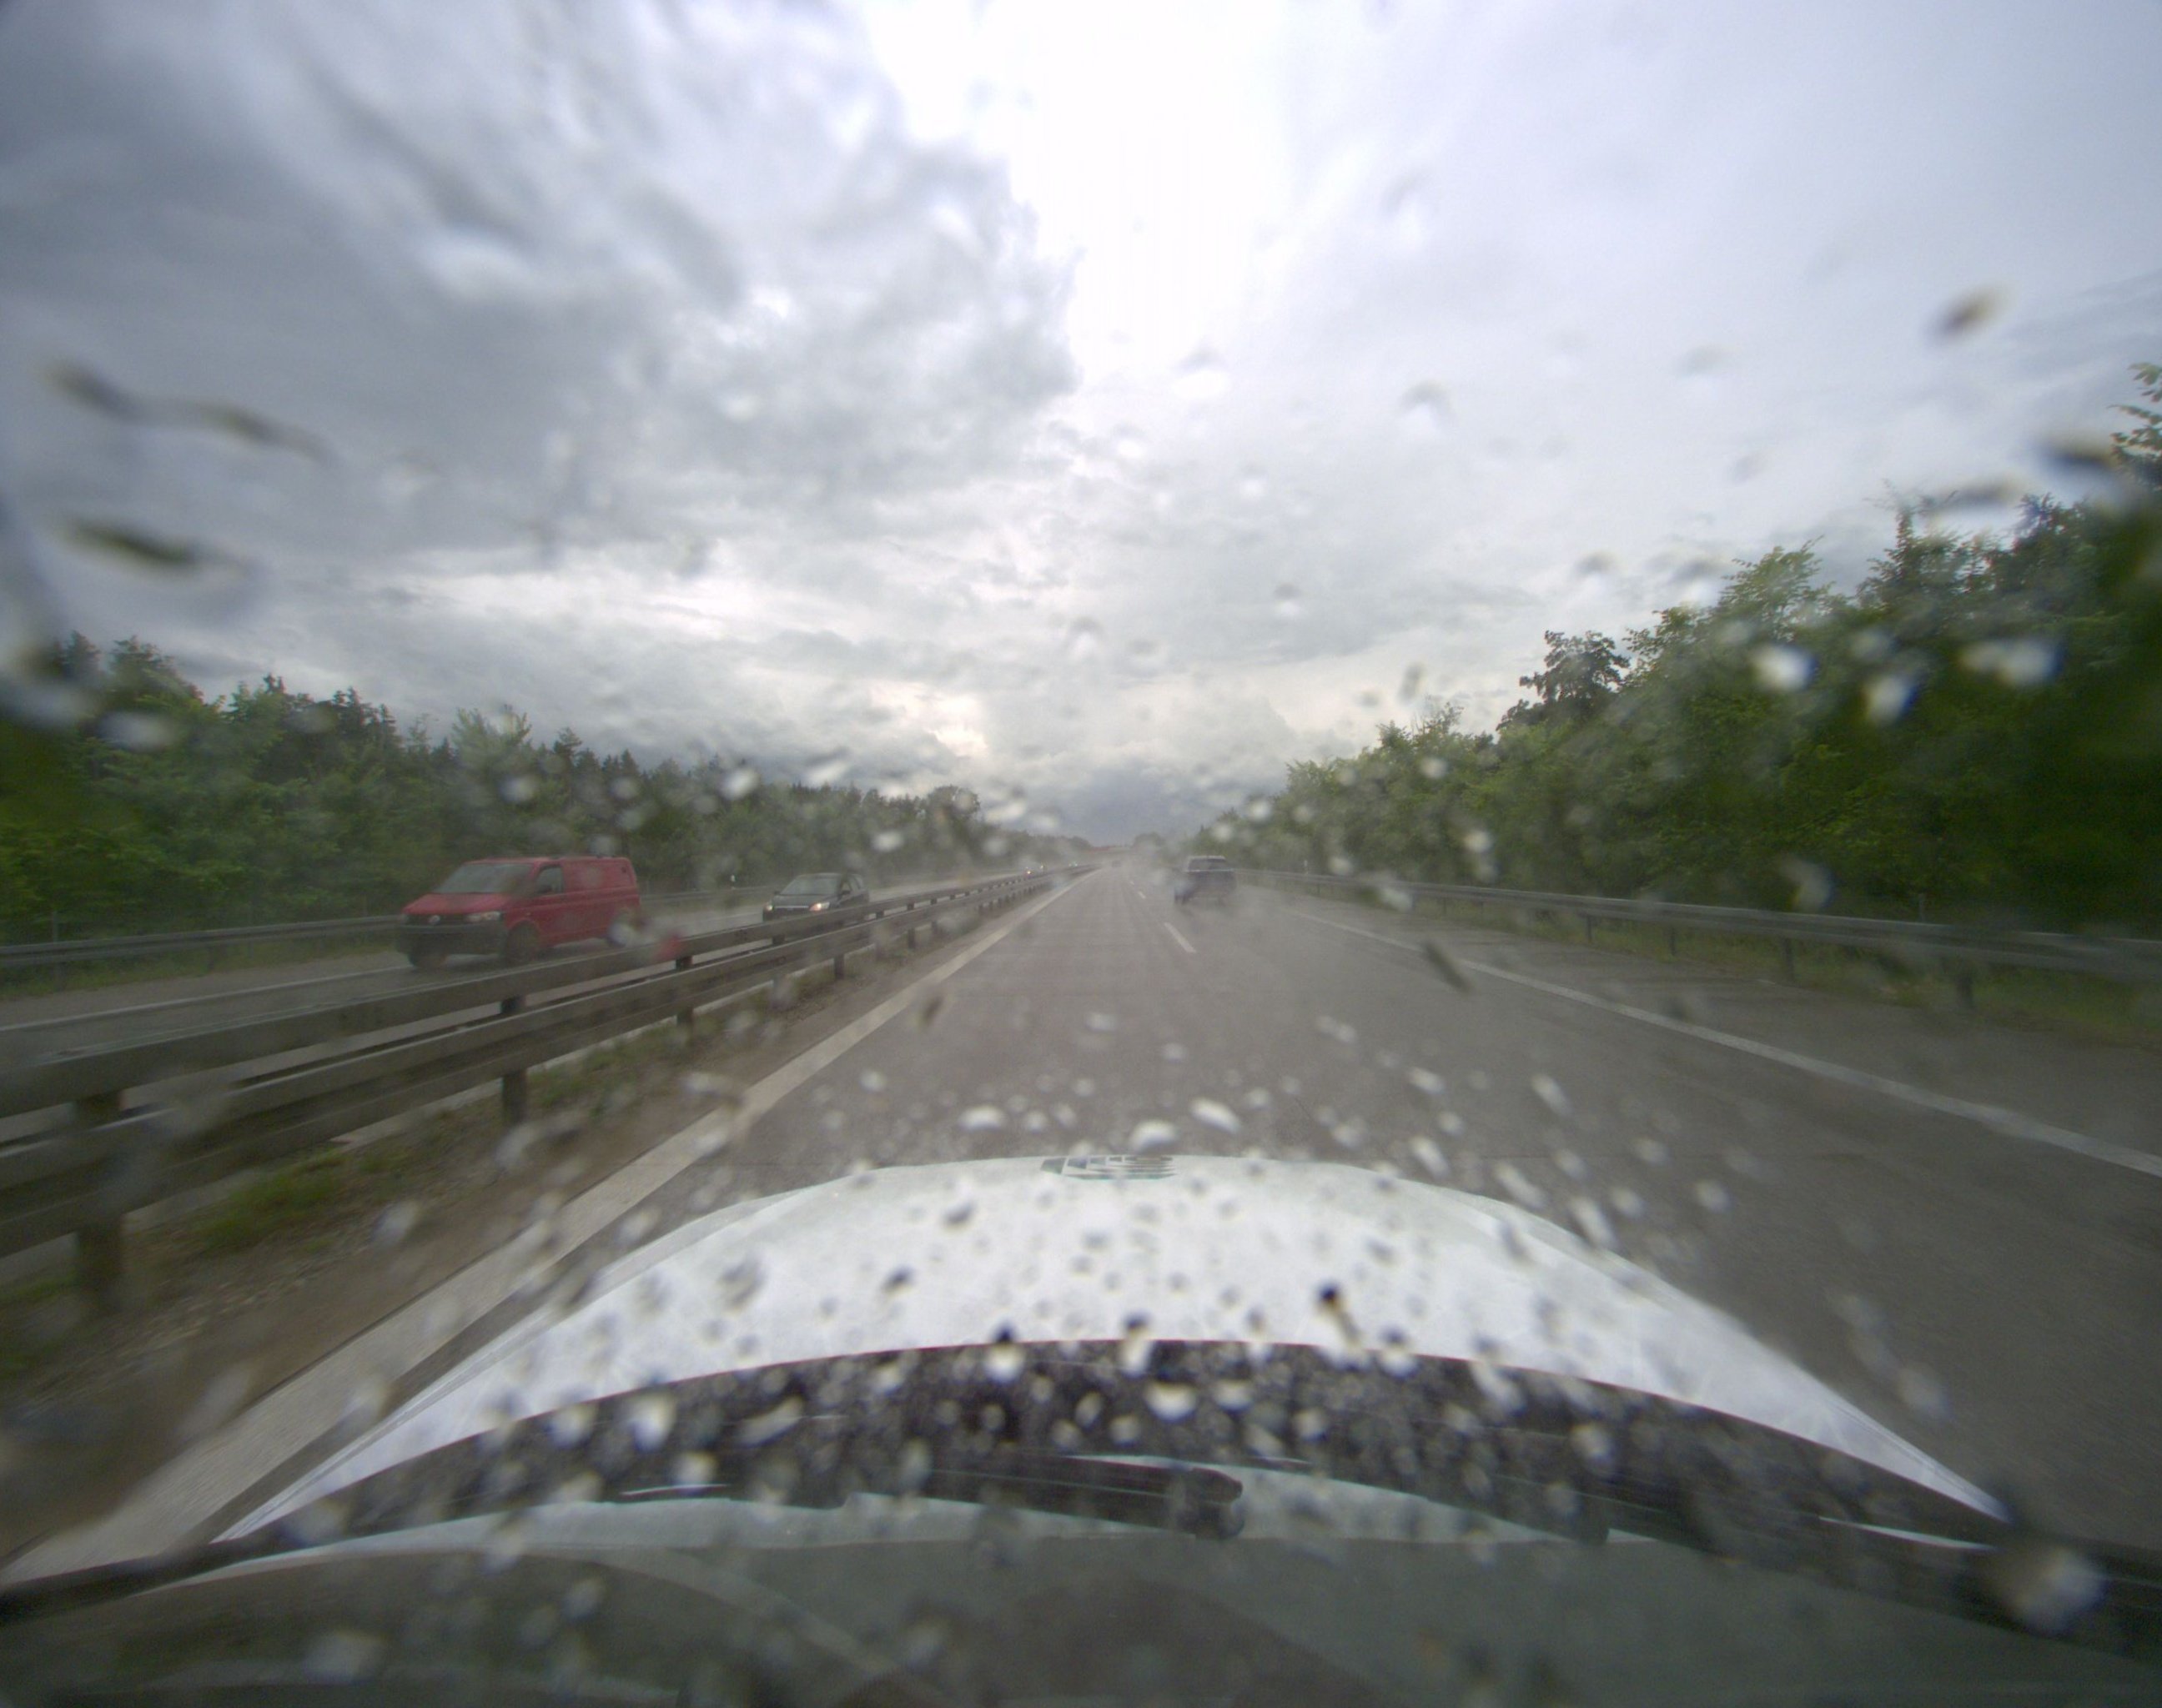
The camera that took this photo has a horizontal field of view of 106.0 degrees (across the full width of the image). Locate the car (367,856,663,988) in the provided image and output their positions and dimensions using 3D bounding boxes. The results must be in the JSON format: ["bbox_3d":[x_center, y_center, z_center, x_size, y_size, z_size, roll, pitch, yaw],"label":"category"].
[{"bbox_3d":[-10.833,1.150,16.278,1.986,2.064,5.315,-3,0,1],"label":"car"}]

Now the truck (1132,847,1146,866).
[{"bbox_3d":[14.052,0.671,197.408,3.228,4.437,8.256,-1,-1,5],"label":"truck"}]

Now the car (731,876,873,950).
[{"bbox_3d":[-7.116,1.434,21.362,1.986,1.483,4.558,-3,0,1],"label":"car"}]

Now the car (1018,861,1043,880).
[{"bbox_3d":[-4.844,1.567,78.702,1.986,1.603,4.001,-3,0,1],"label":"car"}]

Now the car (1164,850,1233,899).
[{"bbox_3d":[3.991,0.708,28.105,1.887,1.576,3.631,-1,-1,1],"label":"car"}]
